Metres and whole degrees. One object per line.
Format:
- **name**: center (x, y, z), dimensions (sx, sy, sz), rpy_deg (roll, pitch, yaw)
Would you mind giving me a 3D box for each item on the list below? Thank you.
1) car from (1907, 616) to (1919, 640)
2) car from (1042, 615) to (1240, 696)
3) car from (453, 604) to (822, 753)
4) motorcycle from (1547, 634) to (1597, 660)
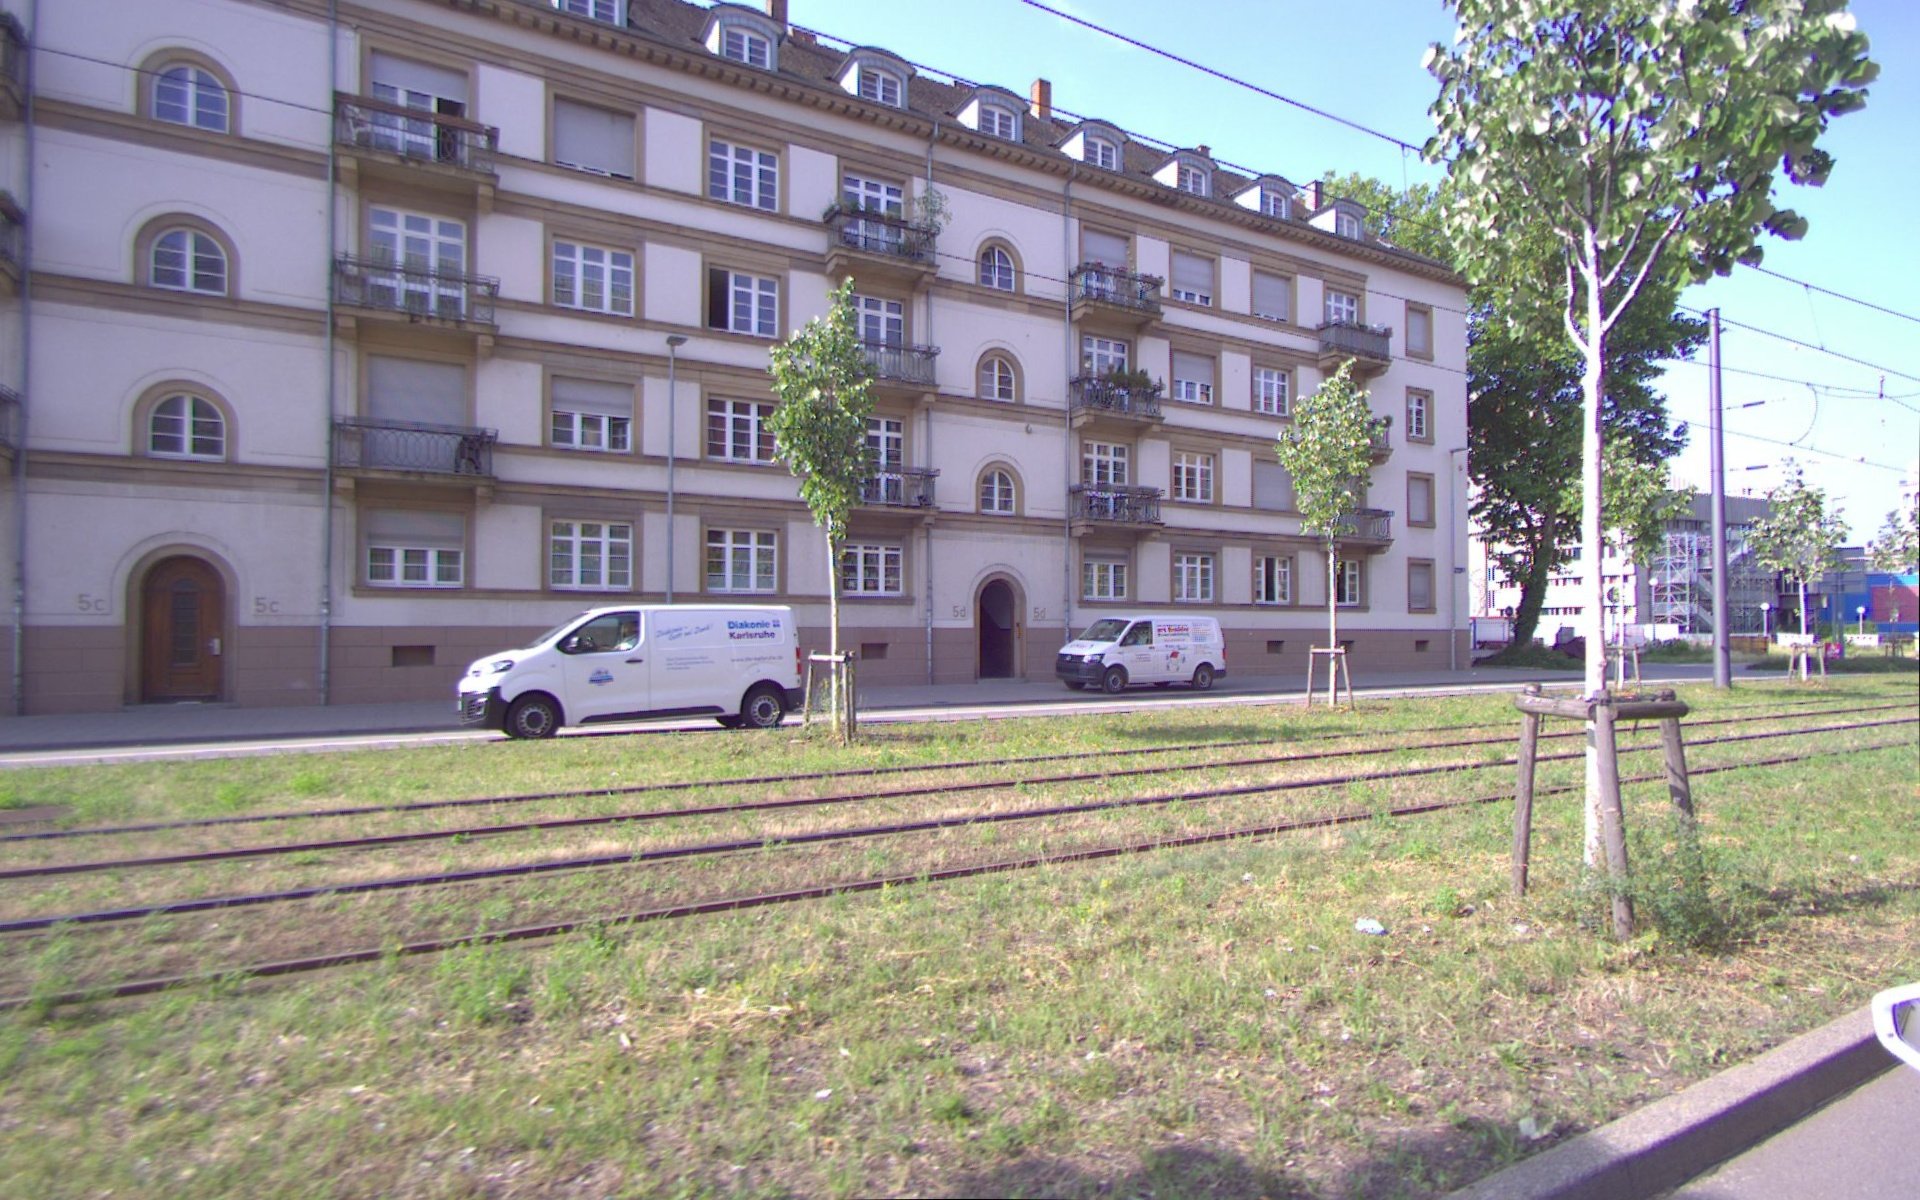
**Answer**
- **car**: center (109.910, 3.209, 111.418), dimensions (6.793, 2.674, 2.502), rpy_deg (2, 0, 40)
- **car**: center (4.836, 1.404, 26.657), dimensions (5.091, 1.943, 1.984), rpy_deg (1, 0, -30)
- **car**: center (-4.764, 1.085, 15.080), dimensions (4.987, 1.920, 1.985), rpy_deg (1, -3, -30)
- **motorcycle**: center (33.656, 2.565, 55.270), dimensions (2.253, 1.387, 0.818), rpy_deg (-1, -2, 24)
